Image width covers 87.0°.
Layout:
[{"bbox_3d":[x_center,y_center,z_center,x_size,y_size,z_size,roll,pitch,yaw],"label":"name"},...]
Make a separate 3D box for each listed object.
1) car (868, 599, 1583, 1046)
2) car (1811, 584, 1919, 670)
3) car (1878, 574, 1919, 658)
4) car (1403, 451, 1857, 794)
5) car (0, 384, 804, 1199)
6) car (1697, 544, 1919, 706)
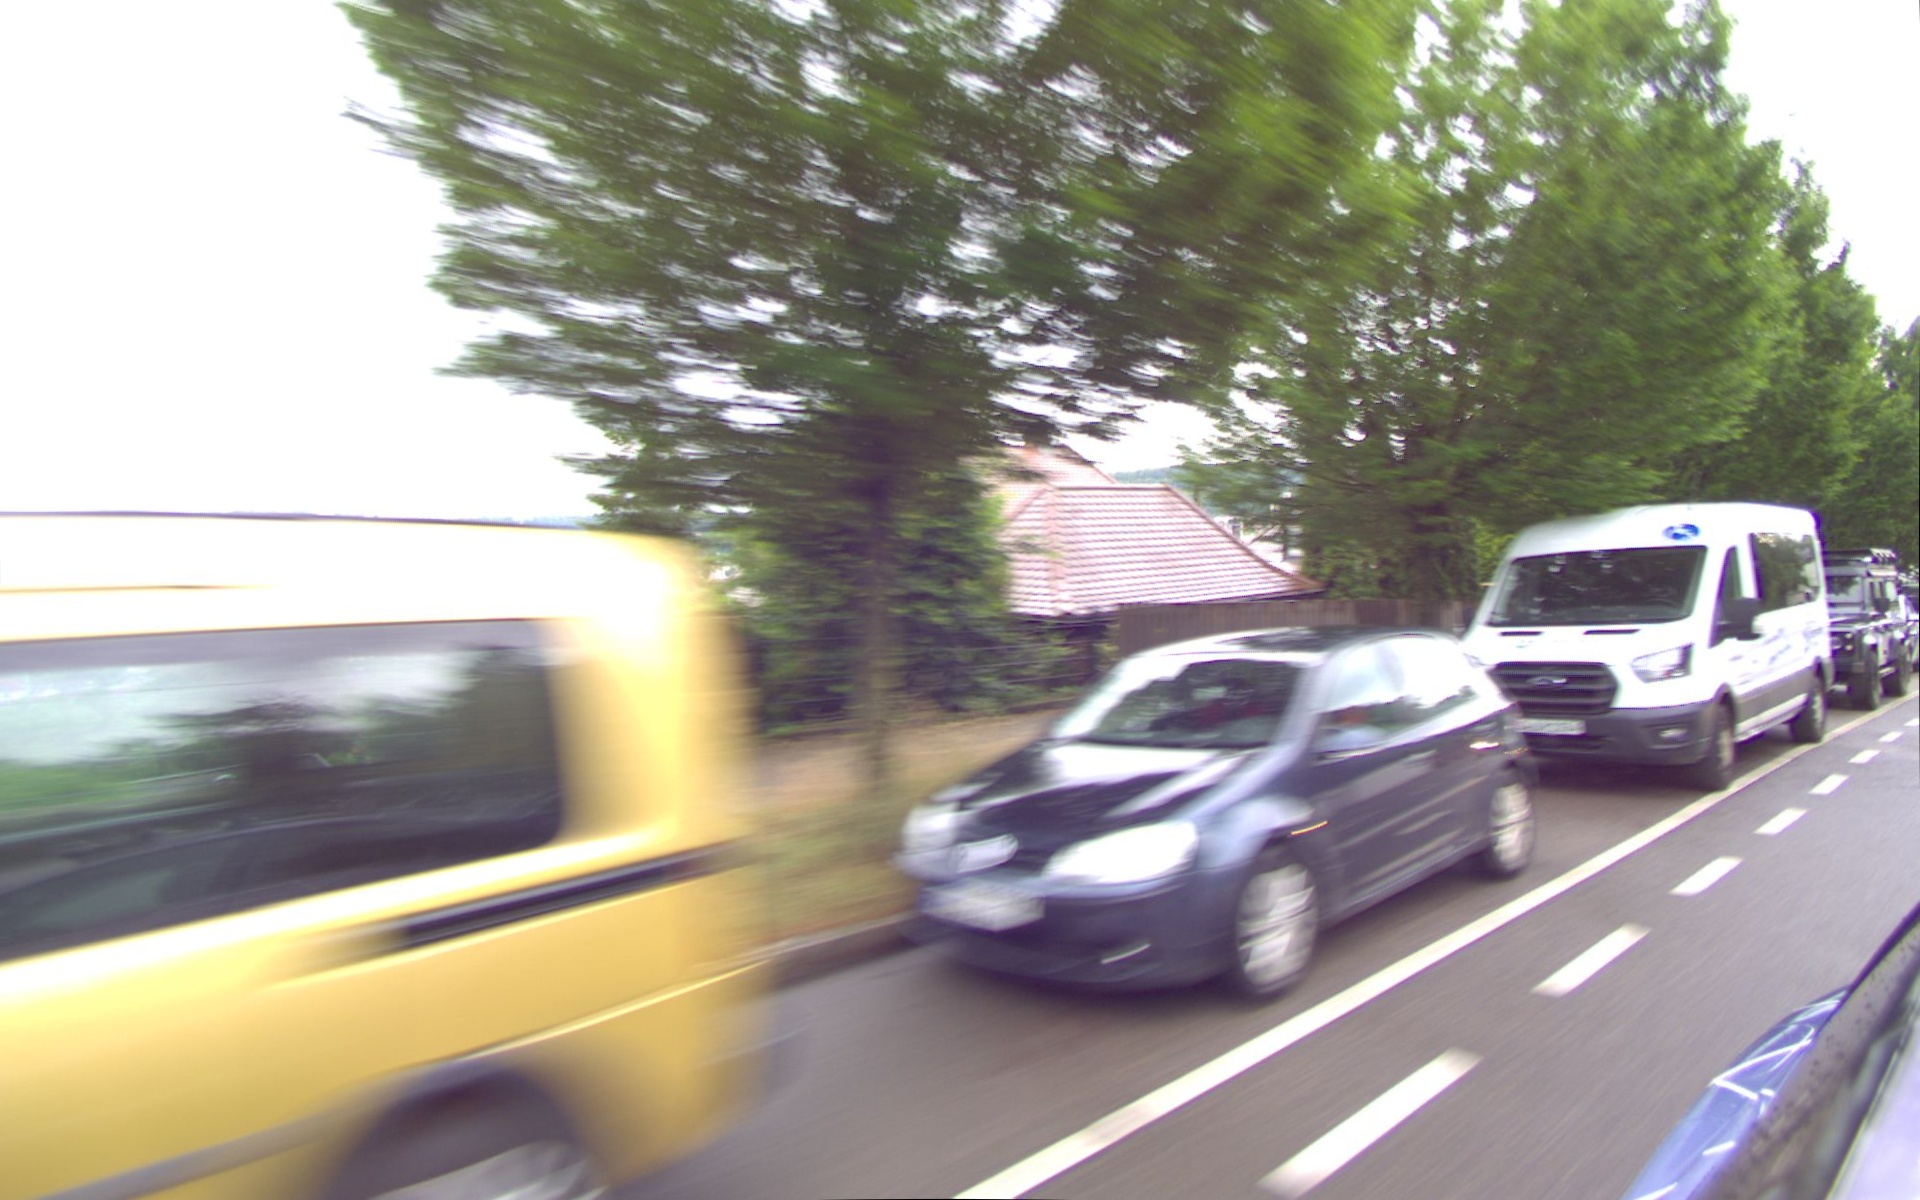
[{"bbox_3d":[1.693,0.808,5.492,4.151,1.477,1.673,-1,-3,-42],"label":"car"},{"bbox_3d":[18.258,0.491,20.089,2.903,1.578,1.599,-1,0,-40],"label":"car"},{"bbox_3d":[22.515,0.327,23.107,4.598,1.806,1.783,-1,0,-41],"label":"car"},{"bbox_3d":[6.997,0.170,10.208,5.928,2.525,2.177,-1,-2,-41],"label":"car"},{"bbox_3d":[-2.545,0.634,1.687,4.200,1.809,1.729,-1,-4,-41],"label":"car"},{"bbox_3d":[13.100,0.301,15.360,5.032,2.078,1.996,-1,-1,-41],"label":"car"}]
